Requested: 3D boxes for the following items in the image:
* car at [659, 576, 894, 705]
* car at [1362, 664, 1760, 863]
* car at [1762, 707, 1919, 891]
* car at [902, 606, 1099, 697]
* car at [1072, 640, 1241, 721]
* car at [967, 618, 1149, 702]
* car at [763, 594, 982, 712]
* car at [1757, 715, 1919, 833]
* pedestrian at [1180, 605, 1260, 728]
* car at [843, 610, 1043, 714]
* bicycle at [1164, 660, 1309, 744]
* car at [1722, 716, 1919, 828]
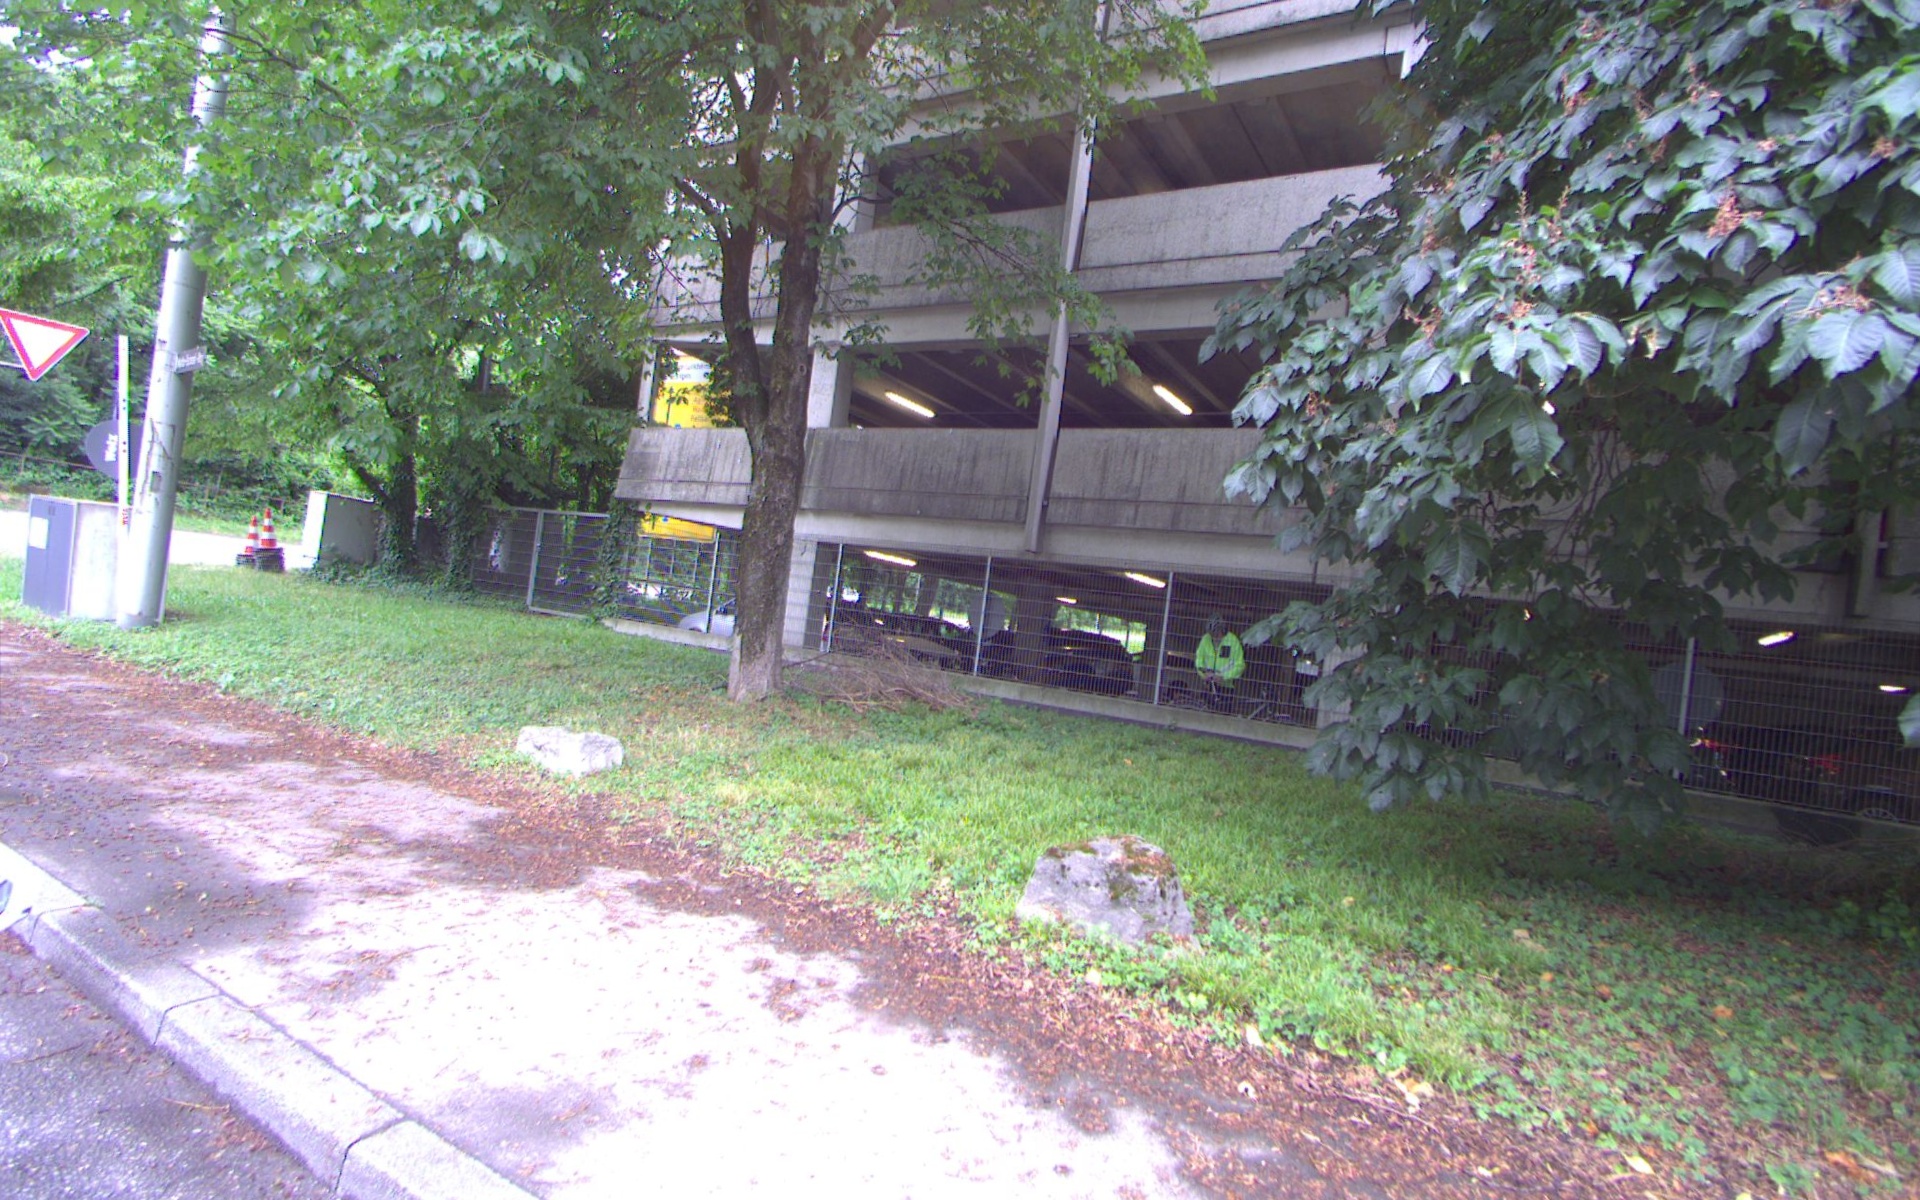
[{"bbox_3d":[-3.116,0.654,16.893,3.658,1.727,1.484,5,-3,32],"label":"car"},{"bbox_3d":[8.619,2.264,14.830,4.597,2.036,1.998,5,-3,31],"label":"car"},{"bbox_3d":[12.670,2.620,12.462,3.935,2.036,1.997,5,-3,33],"label":"car"},{"bbox_3d":[0.921,1.173,23.212,3.934,1.569,1.998,5,-3,32],"label":"car"},{"bbox_3d":[6.137,2.512,31.548,4.658,1.855,1.923,6,-3,33],"label":"car"},{"bbox_3d":[2.440,1.500,25.150,3.934,1.569,1.998,5,-3,32],"label":"car"},{"bbox_3d":[-1.670,0.969,18.819,3.707,1.727,1.584,5,-3,32],"label":"car"},{"bbox_3d":[15.611,2.953,16.510,3.640,1.625,1.721,5,-3,30],"label":"car"},{"bbox_3d":[3.027,0.778,11.679,0.626,1.332,0.642,5,-3,31],"label":"pedestrian"},{"bbox_3d":[-0.376,1.276,20.875,3.658,1.682,1.734,5,-3,32],"label":"car"},{"bbox_3d":[3.116,1.146,11.374,1.469,0.744,0.448,6,-3,24],"label":"bicycle"},{"bbox_3d":[16.601,3.205,18.644,3.640,1.625,1.721,5,-3,30],"label":"car"}]
